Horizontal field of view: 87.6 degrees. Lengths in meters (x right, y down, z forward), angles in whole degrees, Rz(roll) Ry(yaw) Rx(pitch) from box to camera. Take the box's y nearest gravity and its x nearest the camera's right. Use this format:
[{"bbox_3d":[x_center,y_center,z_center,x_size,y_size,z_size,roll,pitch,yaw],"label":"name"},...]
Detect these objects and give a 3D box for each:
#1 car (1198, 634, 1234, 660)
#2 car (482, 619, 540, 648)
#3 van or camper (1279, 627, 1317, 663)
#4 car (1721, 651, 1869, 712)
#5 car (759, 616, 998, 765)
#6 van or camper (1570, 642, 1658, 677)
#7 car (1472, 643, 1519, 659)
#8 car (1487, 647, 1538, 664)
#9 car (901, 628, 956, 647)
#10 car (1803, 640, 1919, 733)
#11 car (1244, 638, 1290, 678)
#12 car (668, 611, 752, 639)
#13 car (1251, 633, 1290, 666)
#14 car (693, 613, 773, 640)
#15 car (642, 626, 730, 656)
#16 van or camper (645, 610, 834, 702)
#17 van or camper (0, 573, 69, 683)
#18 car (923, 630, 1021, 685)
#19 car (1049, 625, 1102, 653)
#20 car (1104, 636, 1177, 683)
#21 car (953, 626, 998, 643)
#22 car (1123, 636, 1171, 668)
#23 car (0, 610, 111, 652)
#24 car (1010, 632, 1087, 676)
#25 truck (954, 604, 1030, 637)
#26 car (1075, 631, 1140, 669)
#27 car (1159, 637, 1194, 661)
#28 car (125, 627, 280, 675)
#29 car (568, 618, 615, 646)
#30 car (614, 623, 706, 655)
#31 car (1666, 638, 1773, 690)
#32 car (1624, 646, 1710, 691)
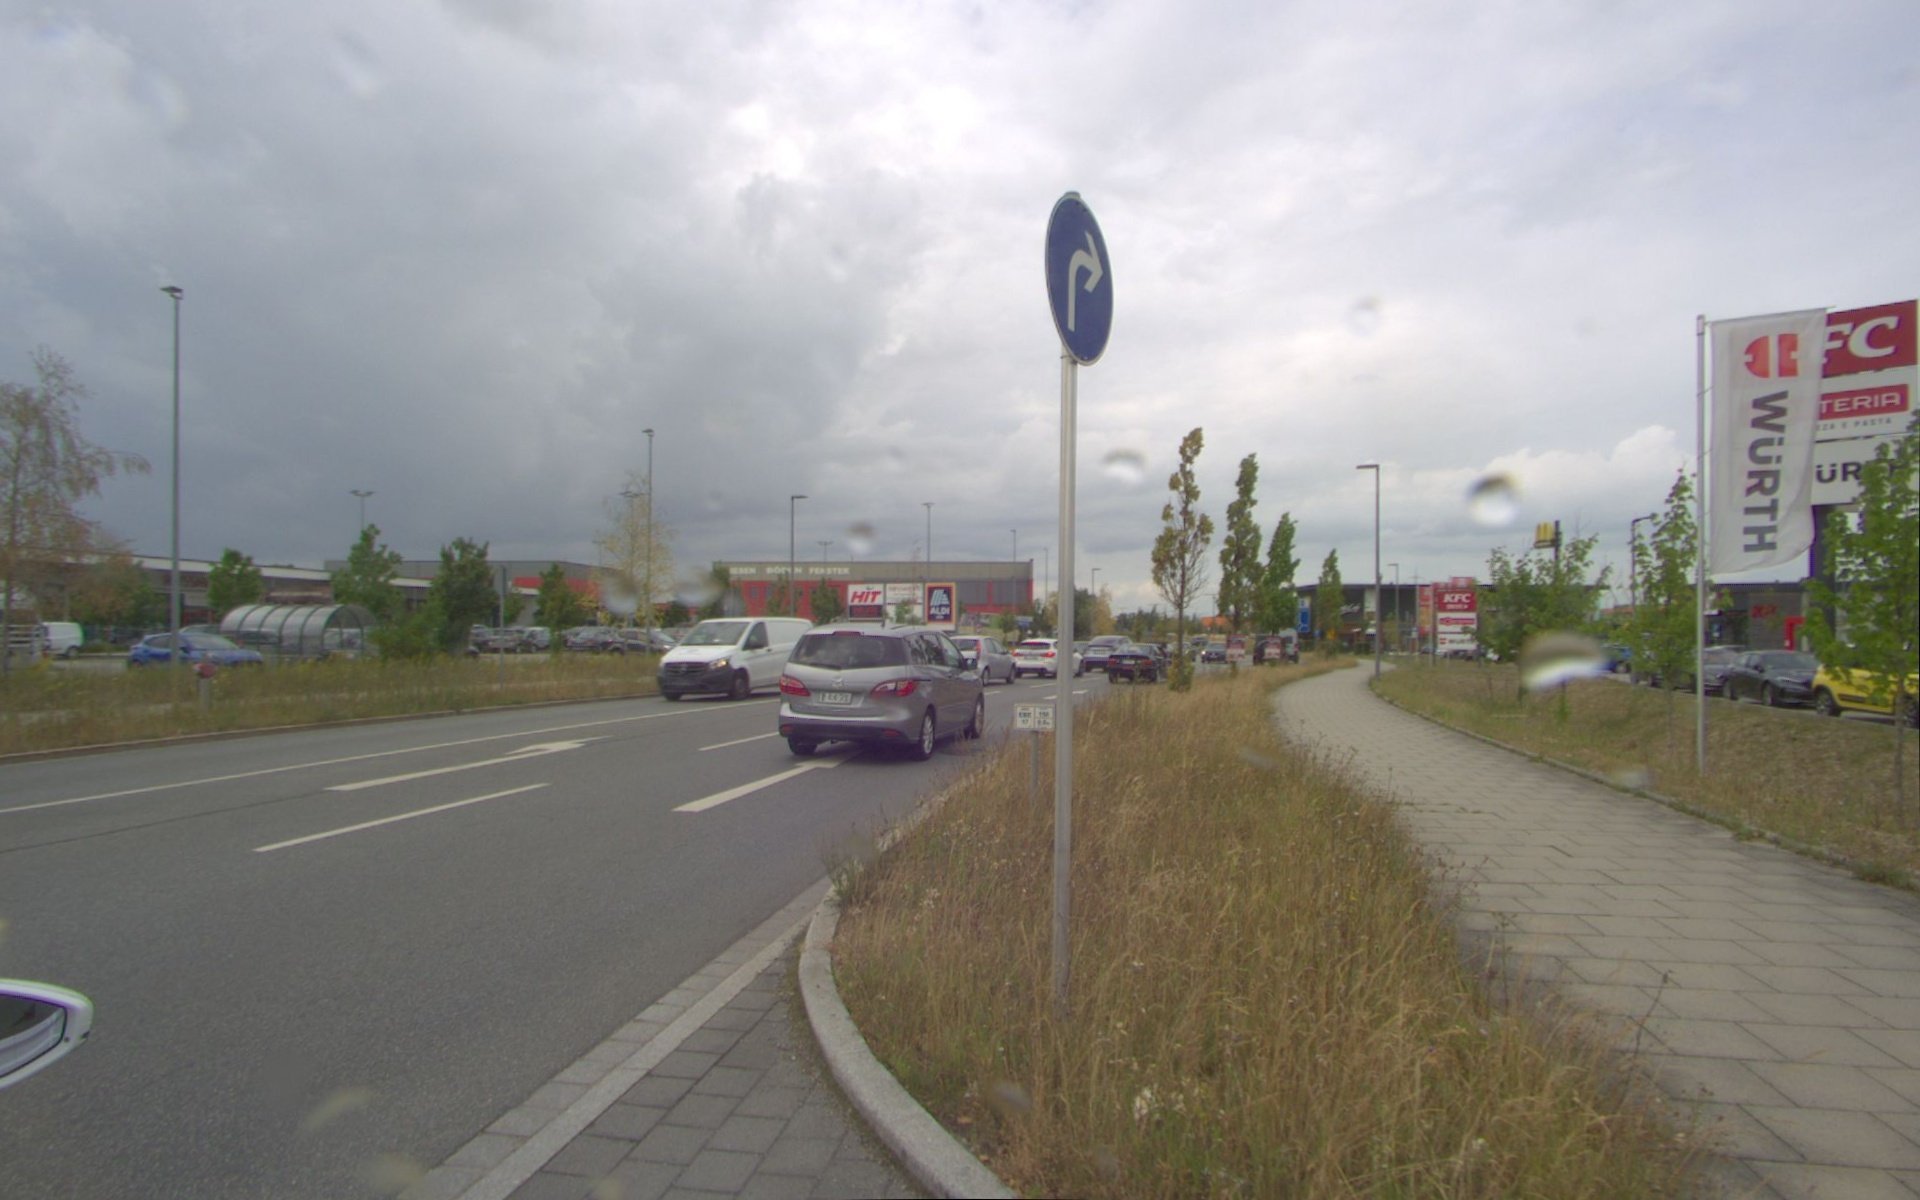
[{"bbox_3d":[16.982,3.063,66.312,1.876,1.589,4.327,0,-1,21],"label":"car"},{"bbox_3d":[-28.187,2.086,62.957,1.961,1.756,4.000,0,-1,-2],"label":"car"},{"bbox_3d":[25.141,3.302,74.334,2.159,2.573,6.151,0,-2,23],"label":"van or camper"},{"bbox_3d":[21.625,2.057,26.124,1.713,1.379,3.992,-1,-2,20],"label":"car"},{"bbox_3d":[-0.855,1.030,13.255,1.787,1.583,4.397,1,-1,14],"label":"car"},{"bbox_3d":[37.065,3.343,56.847,3.933,1.817,1.817,0,-1,23],"label":"van or camper"},{"bbox_3d":[47.289,4.511,88.551,3.545,1.260,1.625,0,-1,25],"label":"car"},{"bbox_3d":[45.400,4.558,82.294,3.545,1.260,1.625,0,-1,25],"label":"car"},{"bbox_3d":[-2.505,3.012,80.247,3.929,1.460,1.997,-1,-1,18],"label":"car"},{"bbox_3d":[19.443,1.702,20.368,1.720,1.705,4.296,-1,-2,13],"label":"car"},{"bbox_3d":[14.192,2.631,46.149,1.657,1.698,3.497,-1,-2,23],"label":"car"},{"bbox_3d":[-12.889,1.266,51.642,3.746,1.408,1.911,0,0,18],"label":"car"},{"bbox_3d":[19.618,3.080,63.123,1.966,1.948,4.837,0,-2,22],"label":"car"},{"bbox_3d":[-12.154,1.399,53.755,3.746,1.408,1.911,0,0,18],"label":"car"},{"bbox_3d":[-13.542,2.006,49.568,3.746,1.408,1.911,0,0,18],"label":"car"},{"bbox_3d":[-5.074,1.224,23.917,1.965,1.936,5.194,0,-1,20],"label":"van or camper"},{"bbox_3d":[-23.817,0.687,23.832,3.929,2.524,2.287,-1,-1,19],"label":"van or camper"},{"bbox_3d":[0.433,1.684,30.235,1.770,1.480,3.808,0,-1,21],"label":"car"},{"bbox_3d":[6.130,2.034,52.699,1.744,1.402,4.140,-1,-2,22],"label":"car"},{"bbox_3d":[6.233,1.992,34.226,1.728,1.404,4.293,0,-1,20],"label":"car"},{"bbox_3d":[1.345,3.004,86.714,3.768,1.446,1.742,0,-1,6],"label":"car"},{"bbox_3d":[9.969,2.710,53.134,1.875,1.588,4.328,0,-1,20],"label":"car"},{"bbox_3d":[-42.583,1.447,46.782,1.961,1.842,4.430,0,-2,3],"label":"car"},{"bbox_3d":[3.344,1.961,37.306,1.770,1.469,4.240,0,-1,21],"label":"car"},{"bbox_3d":[3.118,1.959,95.436,2.650,2.984,8.114,0,-1,42],"label":"truck"},{"bbox_3d":[6.696,2.207,44.964,1.780,1.527,4.873,0,-1,22],"label":"car"},{"bbox_3d":[15.713,3.510,72.440,1.876,1.588,4.327,0,-1,21],"label":"car"},{"bbox_3d":[-23.145,1.535,30.609,4.076,1.402,1.808,-1,-1,19],"label":"car"},{"bbox_3d":[-22.941,1.988,62.481,1.729,1.675,3.836,0,-1,-3],"label":"car"},{"bbox_3d":[-14.164,1.799,47.311,3.746,1.408,1.911,0,0,18],"label":"car"},{"bbox_3d":[24.024,1.983,31.834,1.687,1.518,3.991,-1,-2,22],"label":"car"},{"bbox_3d":[26.102,2.488,37.080,1.687,1.518,3.991,-1,-2,22],"label":"car"}]
